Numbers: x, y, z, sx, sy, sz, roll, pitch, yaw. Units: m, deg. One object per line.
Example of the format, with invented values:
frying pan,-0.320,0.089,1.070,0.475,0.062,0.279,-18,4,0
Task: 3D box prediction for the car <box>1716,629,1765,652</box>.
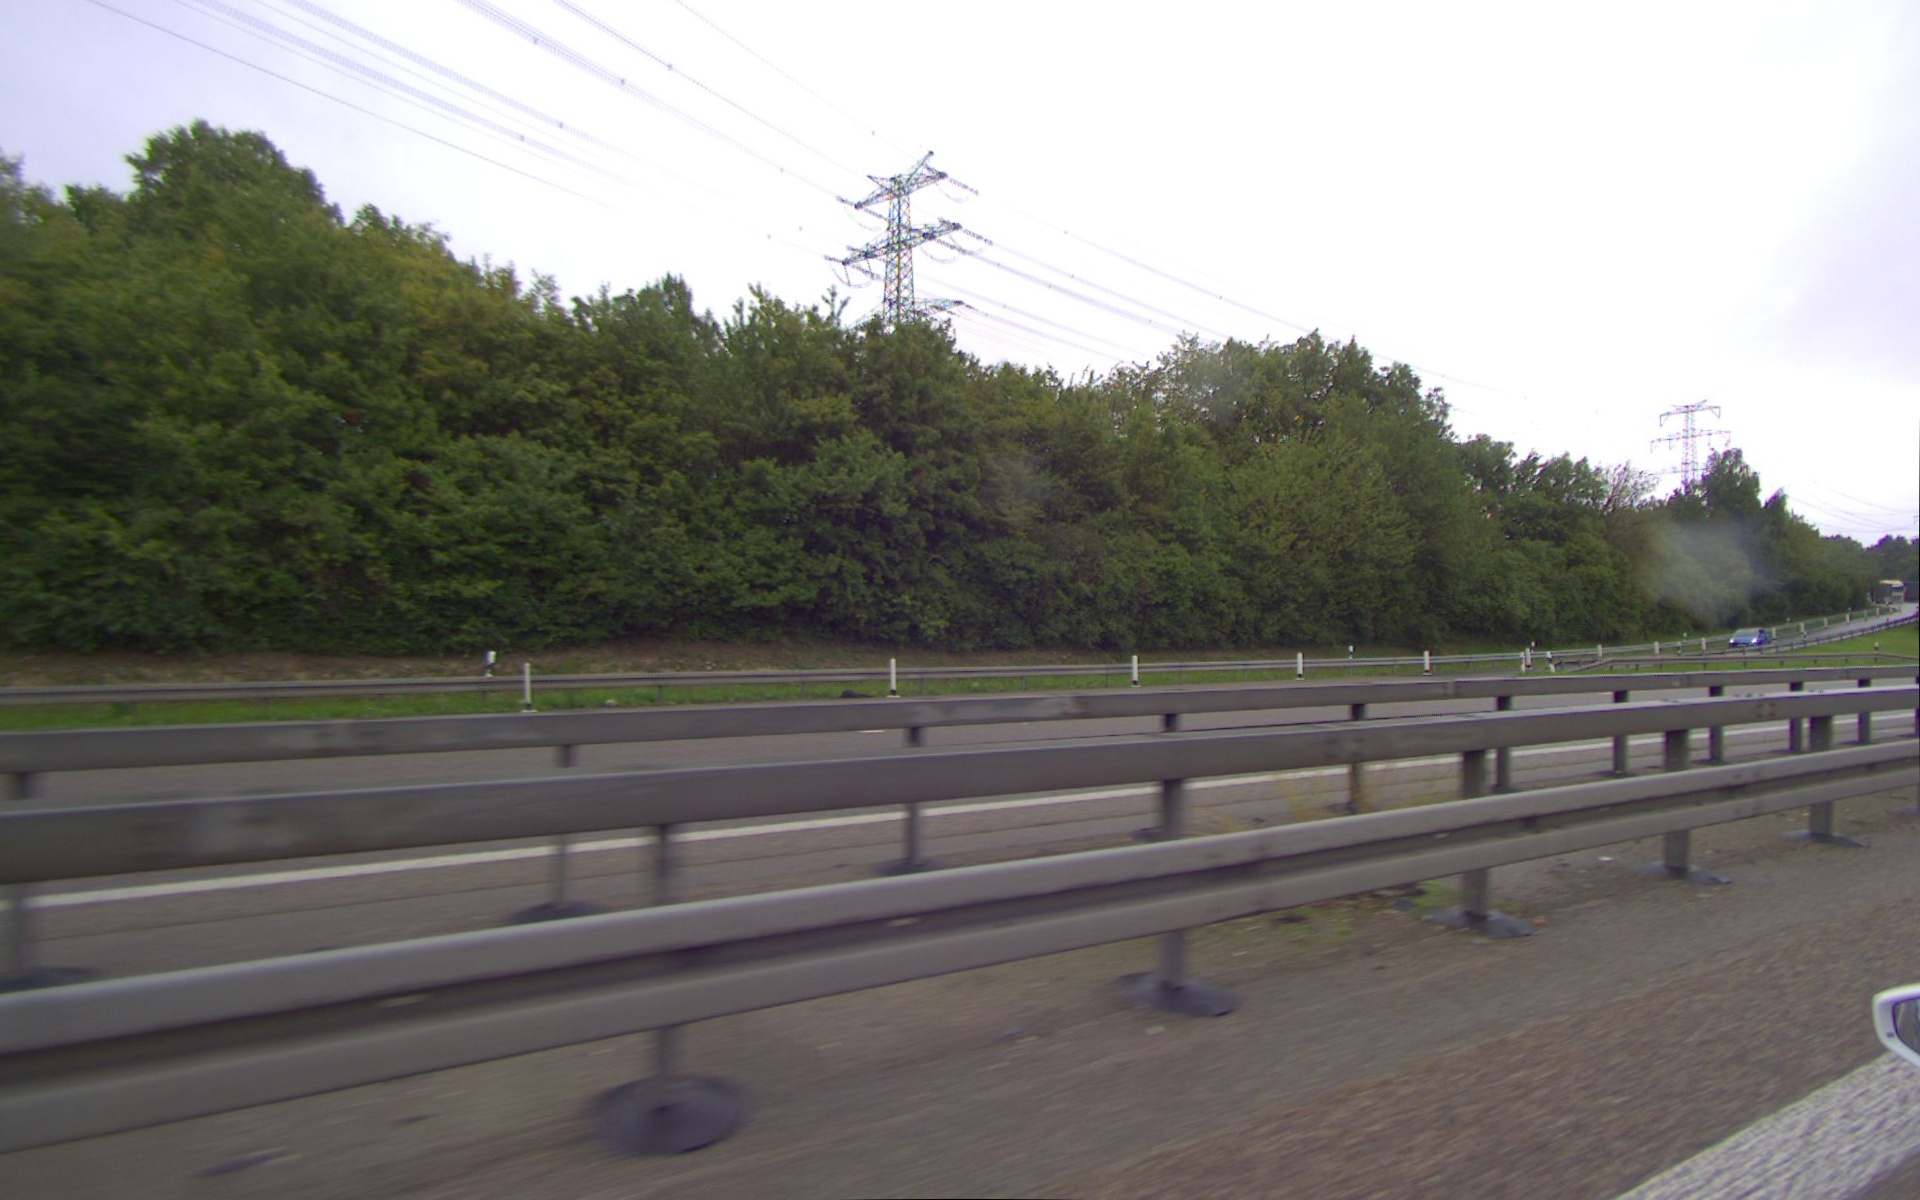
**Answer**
car,55.926,2.870,71.920,3.967,1.563,1.952,1,-2,-40
